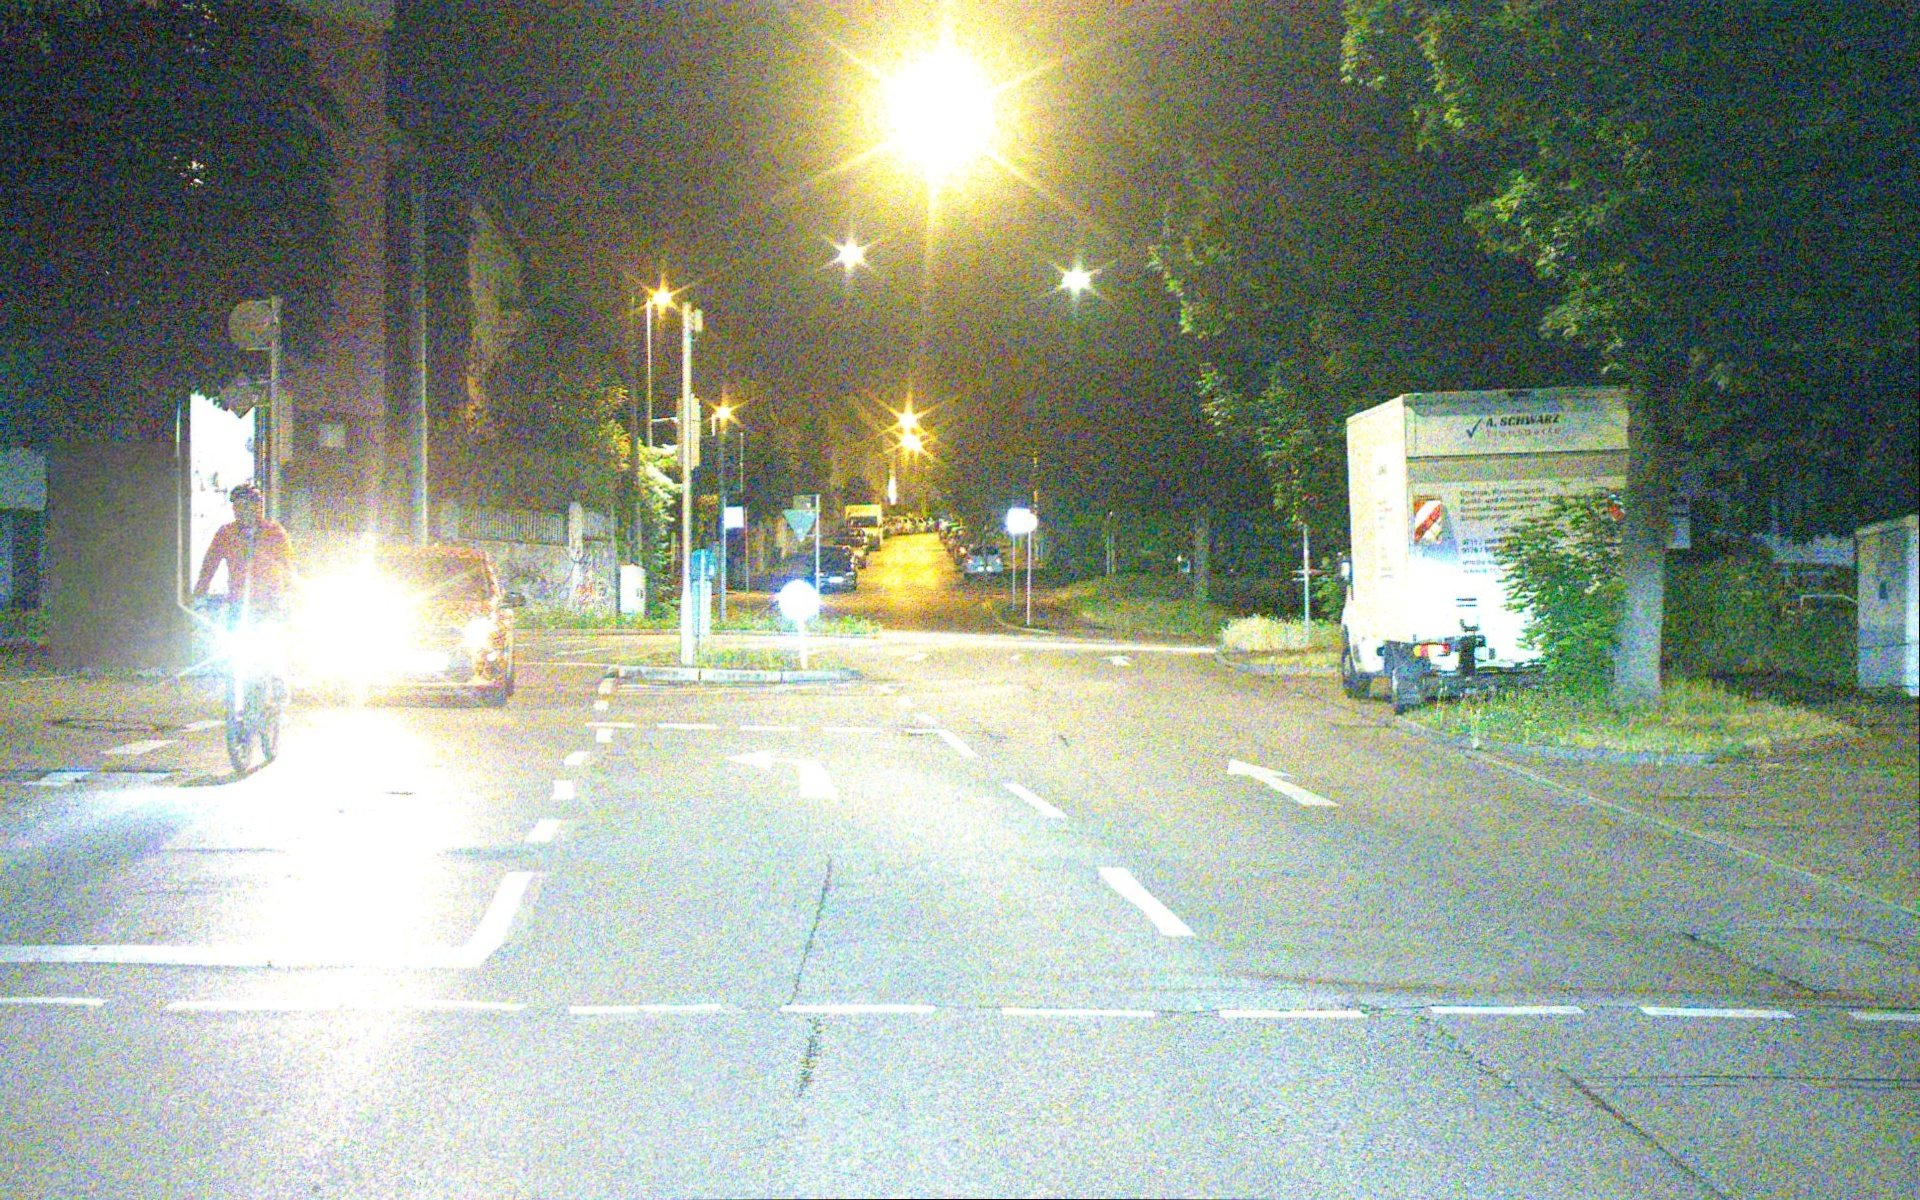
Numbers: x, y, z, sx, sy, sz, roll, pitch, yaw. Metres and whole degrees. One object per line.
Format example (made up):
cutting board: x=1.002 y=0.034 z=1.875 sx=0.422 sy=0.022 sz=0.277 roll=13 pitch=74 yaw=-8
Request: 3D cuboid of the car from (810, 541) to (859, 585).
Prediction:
car: x=-4.901 y=-1.463 z=134.440 sx=1.815 sy=1.678 sz=4.000 roll=1 pitch=1 yaw=-1

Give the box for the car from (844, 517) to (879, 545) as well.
car: x=-5.375 y=-3.742 z=186.942 sx=1.815 sy=1.486 sz=4.000 roll=1 pitch=1 yaw=-2

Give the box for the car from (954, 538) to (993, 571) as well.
car: x=0.585 y=-2.039 z=153.086 sx=1.634 sy=1.447 sz=3.485 roll=1 pitch=1 yaw=-1

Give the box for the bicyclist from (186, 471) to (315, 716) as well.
bicyclist: x=-4.832 y=-0.048 z=23.442 sx=0.690 sy=1.631 sz=0.896 roll=1 pitch=0 yaw=-1

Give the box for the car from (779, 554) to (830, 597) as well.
car: x=-5.329 y=-0.853 z=118.219 sx=1.634 sy=1.447 sz=3.485 roll=1 pitch=1 yaw=-1

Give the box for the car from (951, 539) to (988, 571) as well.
car: x=0.448 y=-2.090 z=159.272 sx=1.634 sy=1.447 sz=3.485 roll=1 pitch=1 yaw=-1

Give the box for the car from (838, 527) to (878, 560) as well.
car: x=-4.795 y=-2.620 z=160.561 sx=1.815 sy=1.486 sz=4.000 roll=1 pitch=1 yaw=-2

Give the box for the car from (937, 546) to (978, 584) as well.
car: x=-0.121 y=-1.415 z=137.714 sx=1.593 sy=1.471 sz=3.654 roll=1 pitch=1 yaw=-1

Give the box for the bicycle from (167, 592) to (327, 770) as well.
bicycle: x=-4.831 y=0.525 z=23.388 sx=0.696 sy=1.145 sz=1.951 roll=1 pitch=0 yaw=-1

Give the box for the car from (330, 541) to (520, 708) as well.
car: x=-5.060 y=0.197 z=32.855 sx=1.581 sy=1.496 sz=3.397 roll=0 pitch=1 yaw=-5

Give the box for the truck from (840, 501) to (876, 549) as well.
truck: x=-6.221 y=-4.550 z=209.572 sx=2.086 sy=2.838 sz=5.832 roll=1 pitch=1 yaw=-2

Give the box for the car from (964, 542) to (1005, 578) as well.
car: x=1.025 y=-1.681 z=143.354 sx=1.634 sy=1.447 sz=3.485 roll=1 pitch=1 yaw=-1

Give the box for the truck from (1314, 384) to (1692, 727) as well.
truck: x=5.289 y=-0.455 z=34.584 sx=2.749 sy=3.100 sz=6.258 roll=1 pitch=1 yaw=0

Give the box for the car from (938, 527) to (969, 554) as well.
car: x=-0.377 y=-3.316 z=191.474 sx=1.634 sy=1.447 sz=3.485 roll=1 pitch=1 yaw=-1
